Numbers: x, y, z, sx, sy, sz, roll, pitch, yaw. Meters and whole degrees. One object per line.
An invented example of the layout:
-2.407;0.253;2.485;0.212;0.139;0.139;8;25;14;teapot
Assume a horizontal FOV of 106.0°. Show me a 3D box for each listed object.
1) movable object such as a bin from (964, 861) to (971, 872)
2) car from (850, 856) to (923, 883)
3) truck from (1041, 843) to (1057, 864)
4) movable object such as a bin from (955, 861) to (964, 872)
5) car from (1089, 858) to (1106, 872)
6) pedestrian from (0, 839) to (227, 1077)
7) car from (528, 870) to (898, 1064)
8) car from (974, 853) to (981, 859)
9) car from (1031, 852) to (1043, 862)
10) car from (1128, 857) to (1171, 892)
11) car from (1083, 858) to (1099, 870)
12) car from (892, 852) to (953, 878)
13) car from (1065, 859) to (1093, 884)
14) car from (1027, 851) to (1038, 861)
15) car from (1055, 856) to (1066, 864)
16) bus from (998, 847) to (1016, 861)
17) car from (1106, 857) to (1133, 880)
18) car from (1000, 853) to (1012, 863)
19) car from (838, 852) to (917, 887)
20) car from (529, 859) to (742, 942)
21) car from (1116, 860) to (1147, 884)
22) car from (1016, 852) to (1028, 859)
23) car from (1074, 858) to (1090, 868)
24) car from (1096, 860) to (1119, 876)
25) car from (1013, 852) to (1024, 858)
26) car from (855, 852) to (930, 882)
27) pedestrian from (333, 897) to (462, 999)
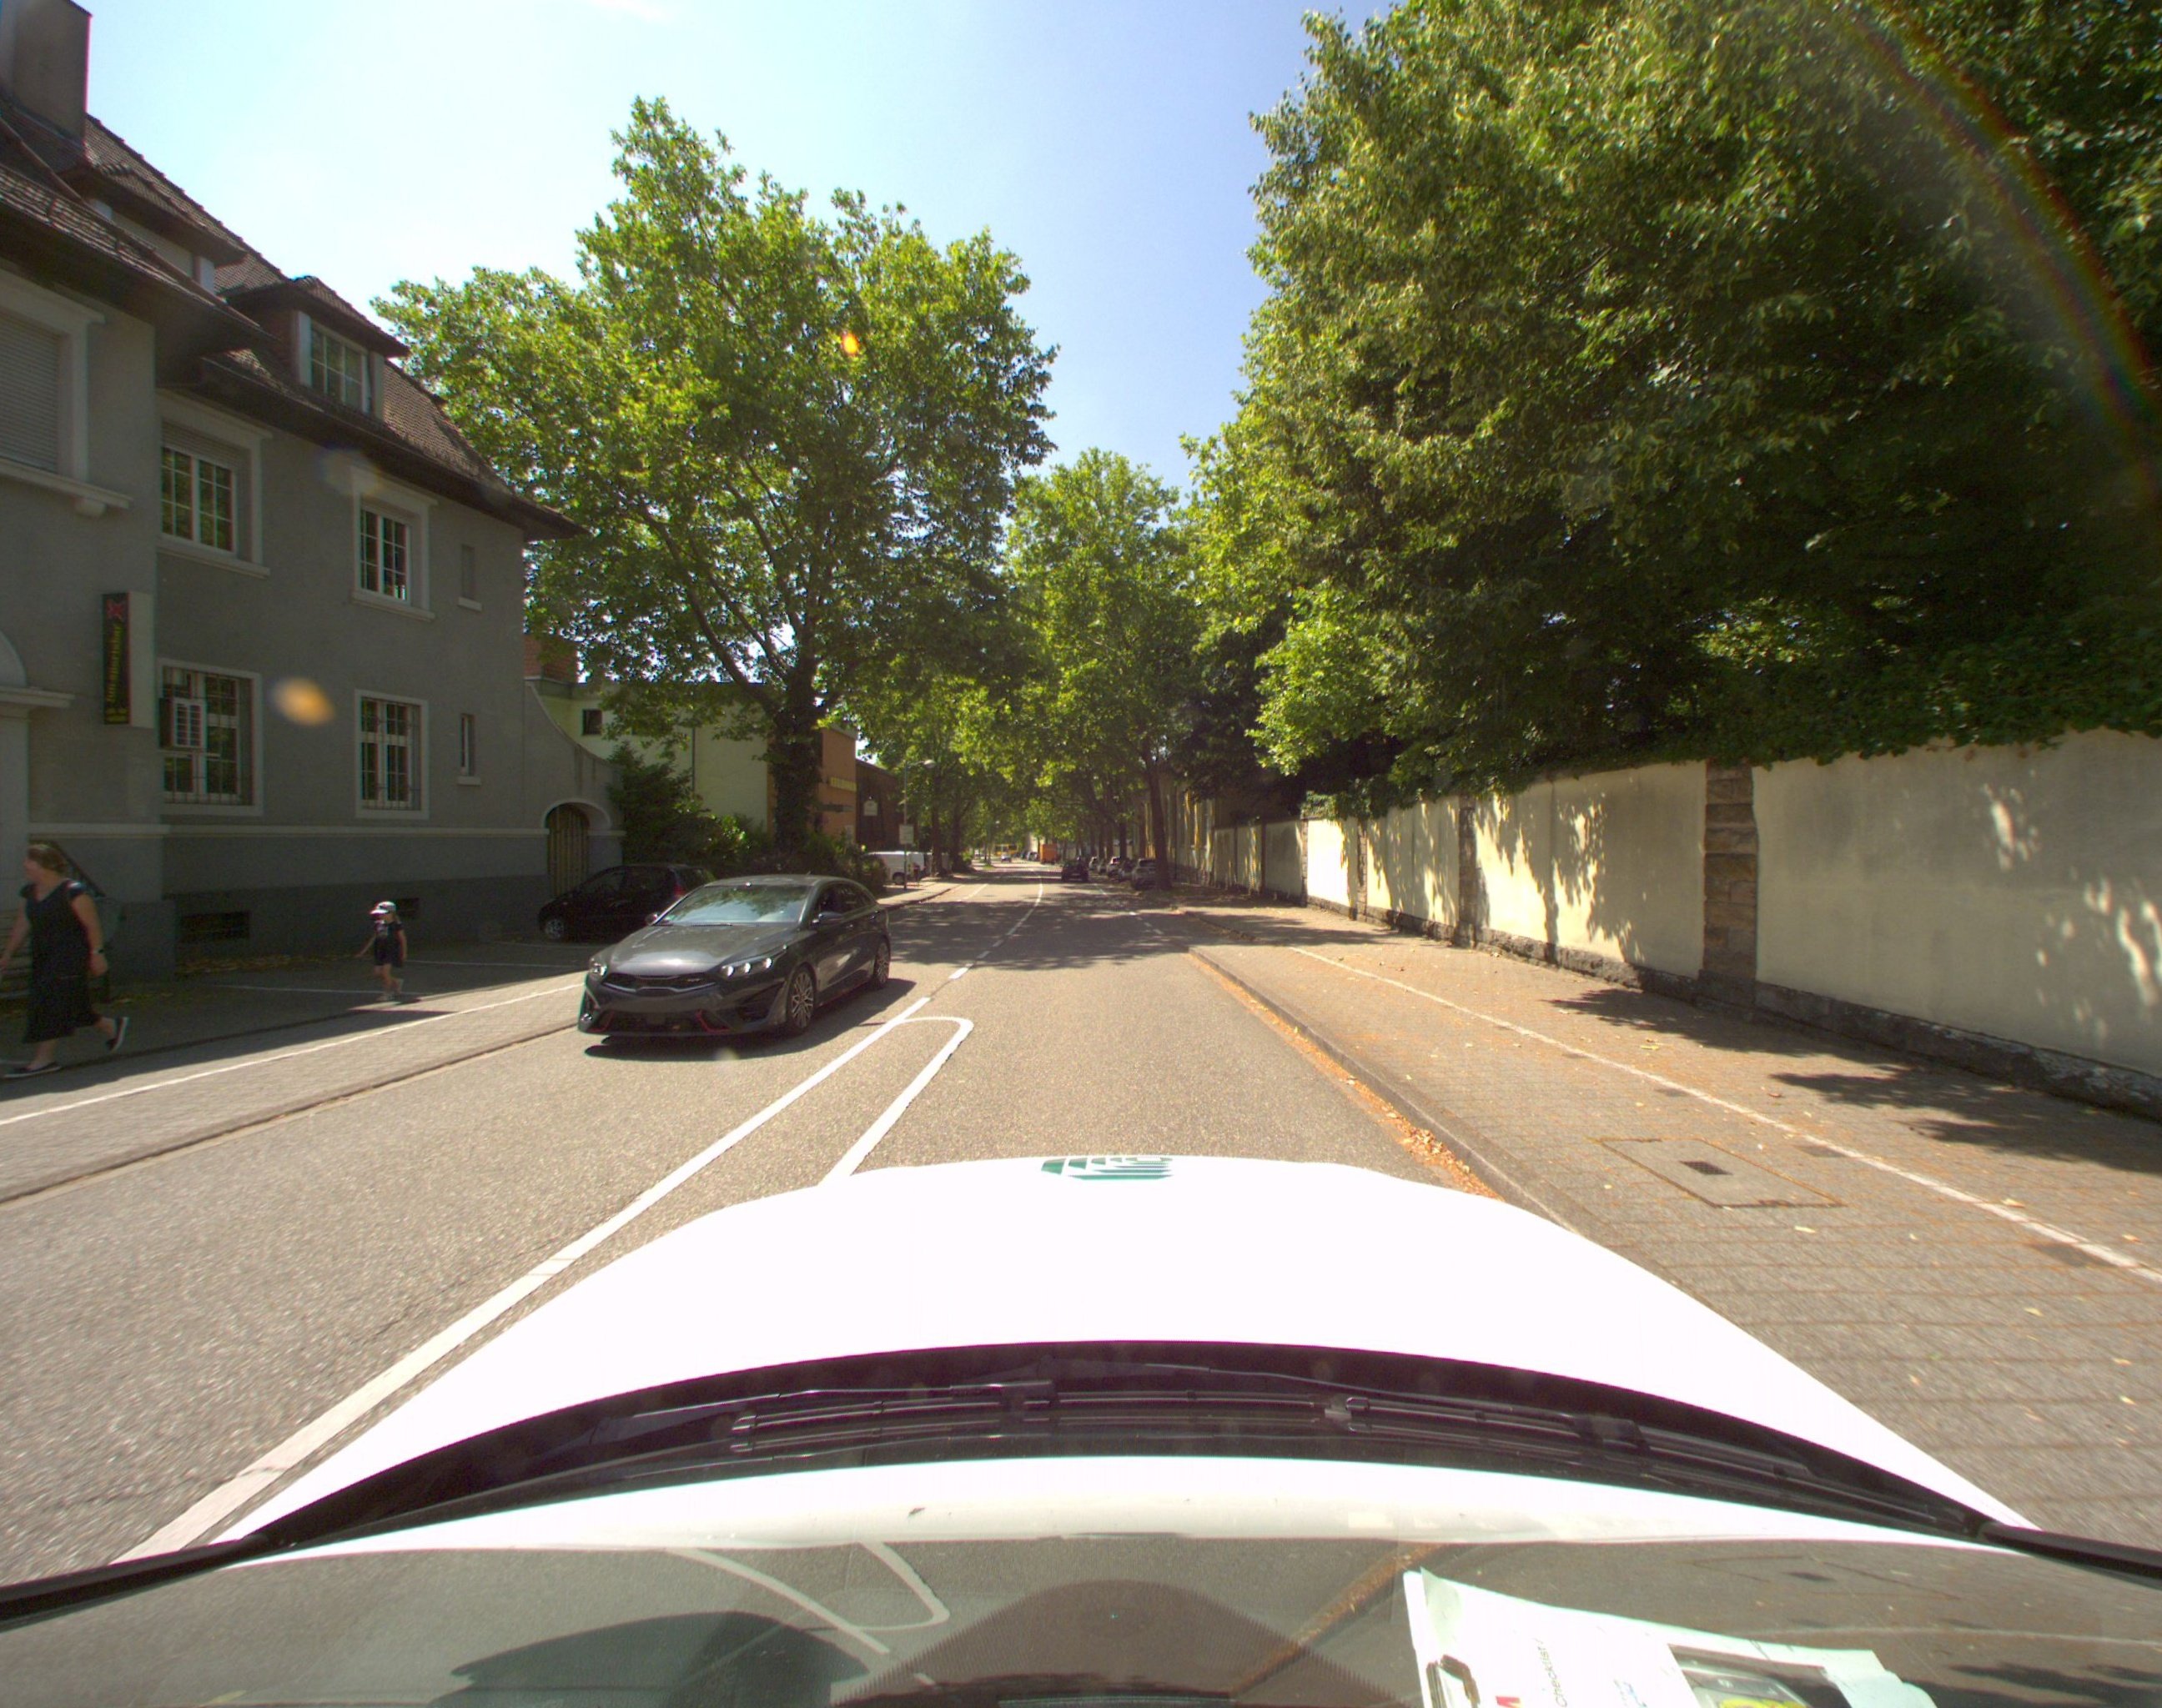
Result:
-10.971;1.213;78.683;0.621;1.048;0.621;0;0;2;movable object such as a bin
-11.818;0.958;49.689;3.980;1.515;1.865;2;-1;-5;car
-4.941;-0.063;125.529;2.366;3.134;5.760;0;-2;-4;truck
-11.729;1.195;78.613;0.733;1.078;0.700;0;0;-3;movable object such as a bin
1.769;1.205;89.701;1.574;1.466;3.870;-1;0;-3;car
-7.903;0.769;6.543;0.868;1.742;1.114;-1;-1;4;pedestrian
-3.335;0.915;8.474;1.762;1.426;4.393;-1;-1;1;car
-25.441;0.594;200.421;1.710;1.447;4.045;-1;0;-9;car
-8.077;0.523;148.522;1.879;1.686;3.987;0;-2;-9;car
3.429;0.977;41.426;1.736;1.557;4.779;-2;0;0;car
1.226;1.266;102.295;1.763;1.466;3.870;-1;0;-3;car
-11.699;0.831;60.338;4.121;1.804;1.900;2;-1;-5;car
-0.163;1.114;53.574;1.707;1.447;4.054;0;1;-2;car
-9.283;0.377;155.878;1.877;1.686;3.990;0;-2;-7;car
-3.726;1.147;147.570;1.764;1.374;3.721;0;-1;-7;car
-18.140;-0.004;198.933;2.667;3.150;11.142;0;-1;-14;bus
3.013;1.128;64.660;1.803;1.689;4.748;-1;0;-2;car
-13.303;0.740;143.840;1.992;1.666;3.989;0;-2;-7;car
-11.238;0.835;45.201;3.980;1.793;1.865;2;-1;-5;car
-8.875;0.891;16.367;3.362;1.546;1.728;0;-1;8;car
3.235;1.106;52.967;1.617;1.439;4.429;-1;0;-2;car
-12.206;0.256;167.980;1.769;1.374;3.711;-1;0;-15;car
0.131;1.239;112.071;1.765;1.374;3.721;-1;0;-7;car
2.440;1.258;75.242;1.763;1.433;3.870;-1;0;-3;car
-13.678;0.229;177.313;1.769;1.374;3.712;-1;0;-14;car
-12.068;0.832;52.290;4.416;1.804;1.900;2;-1;-5;car
-8.153;1.097;9.756;0.750;1.122;0.898;-1;-1;4;pedestrian
